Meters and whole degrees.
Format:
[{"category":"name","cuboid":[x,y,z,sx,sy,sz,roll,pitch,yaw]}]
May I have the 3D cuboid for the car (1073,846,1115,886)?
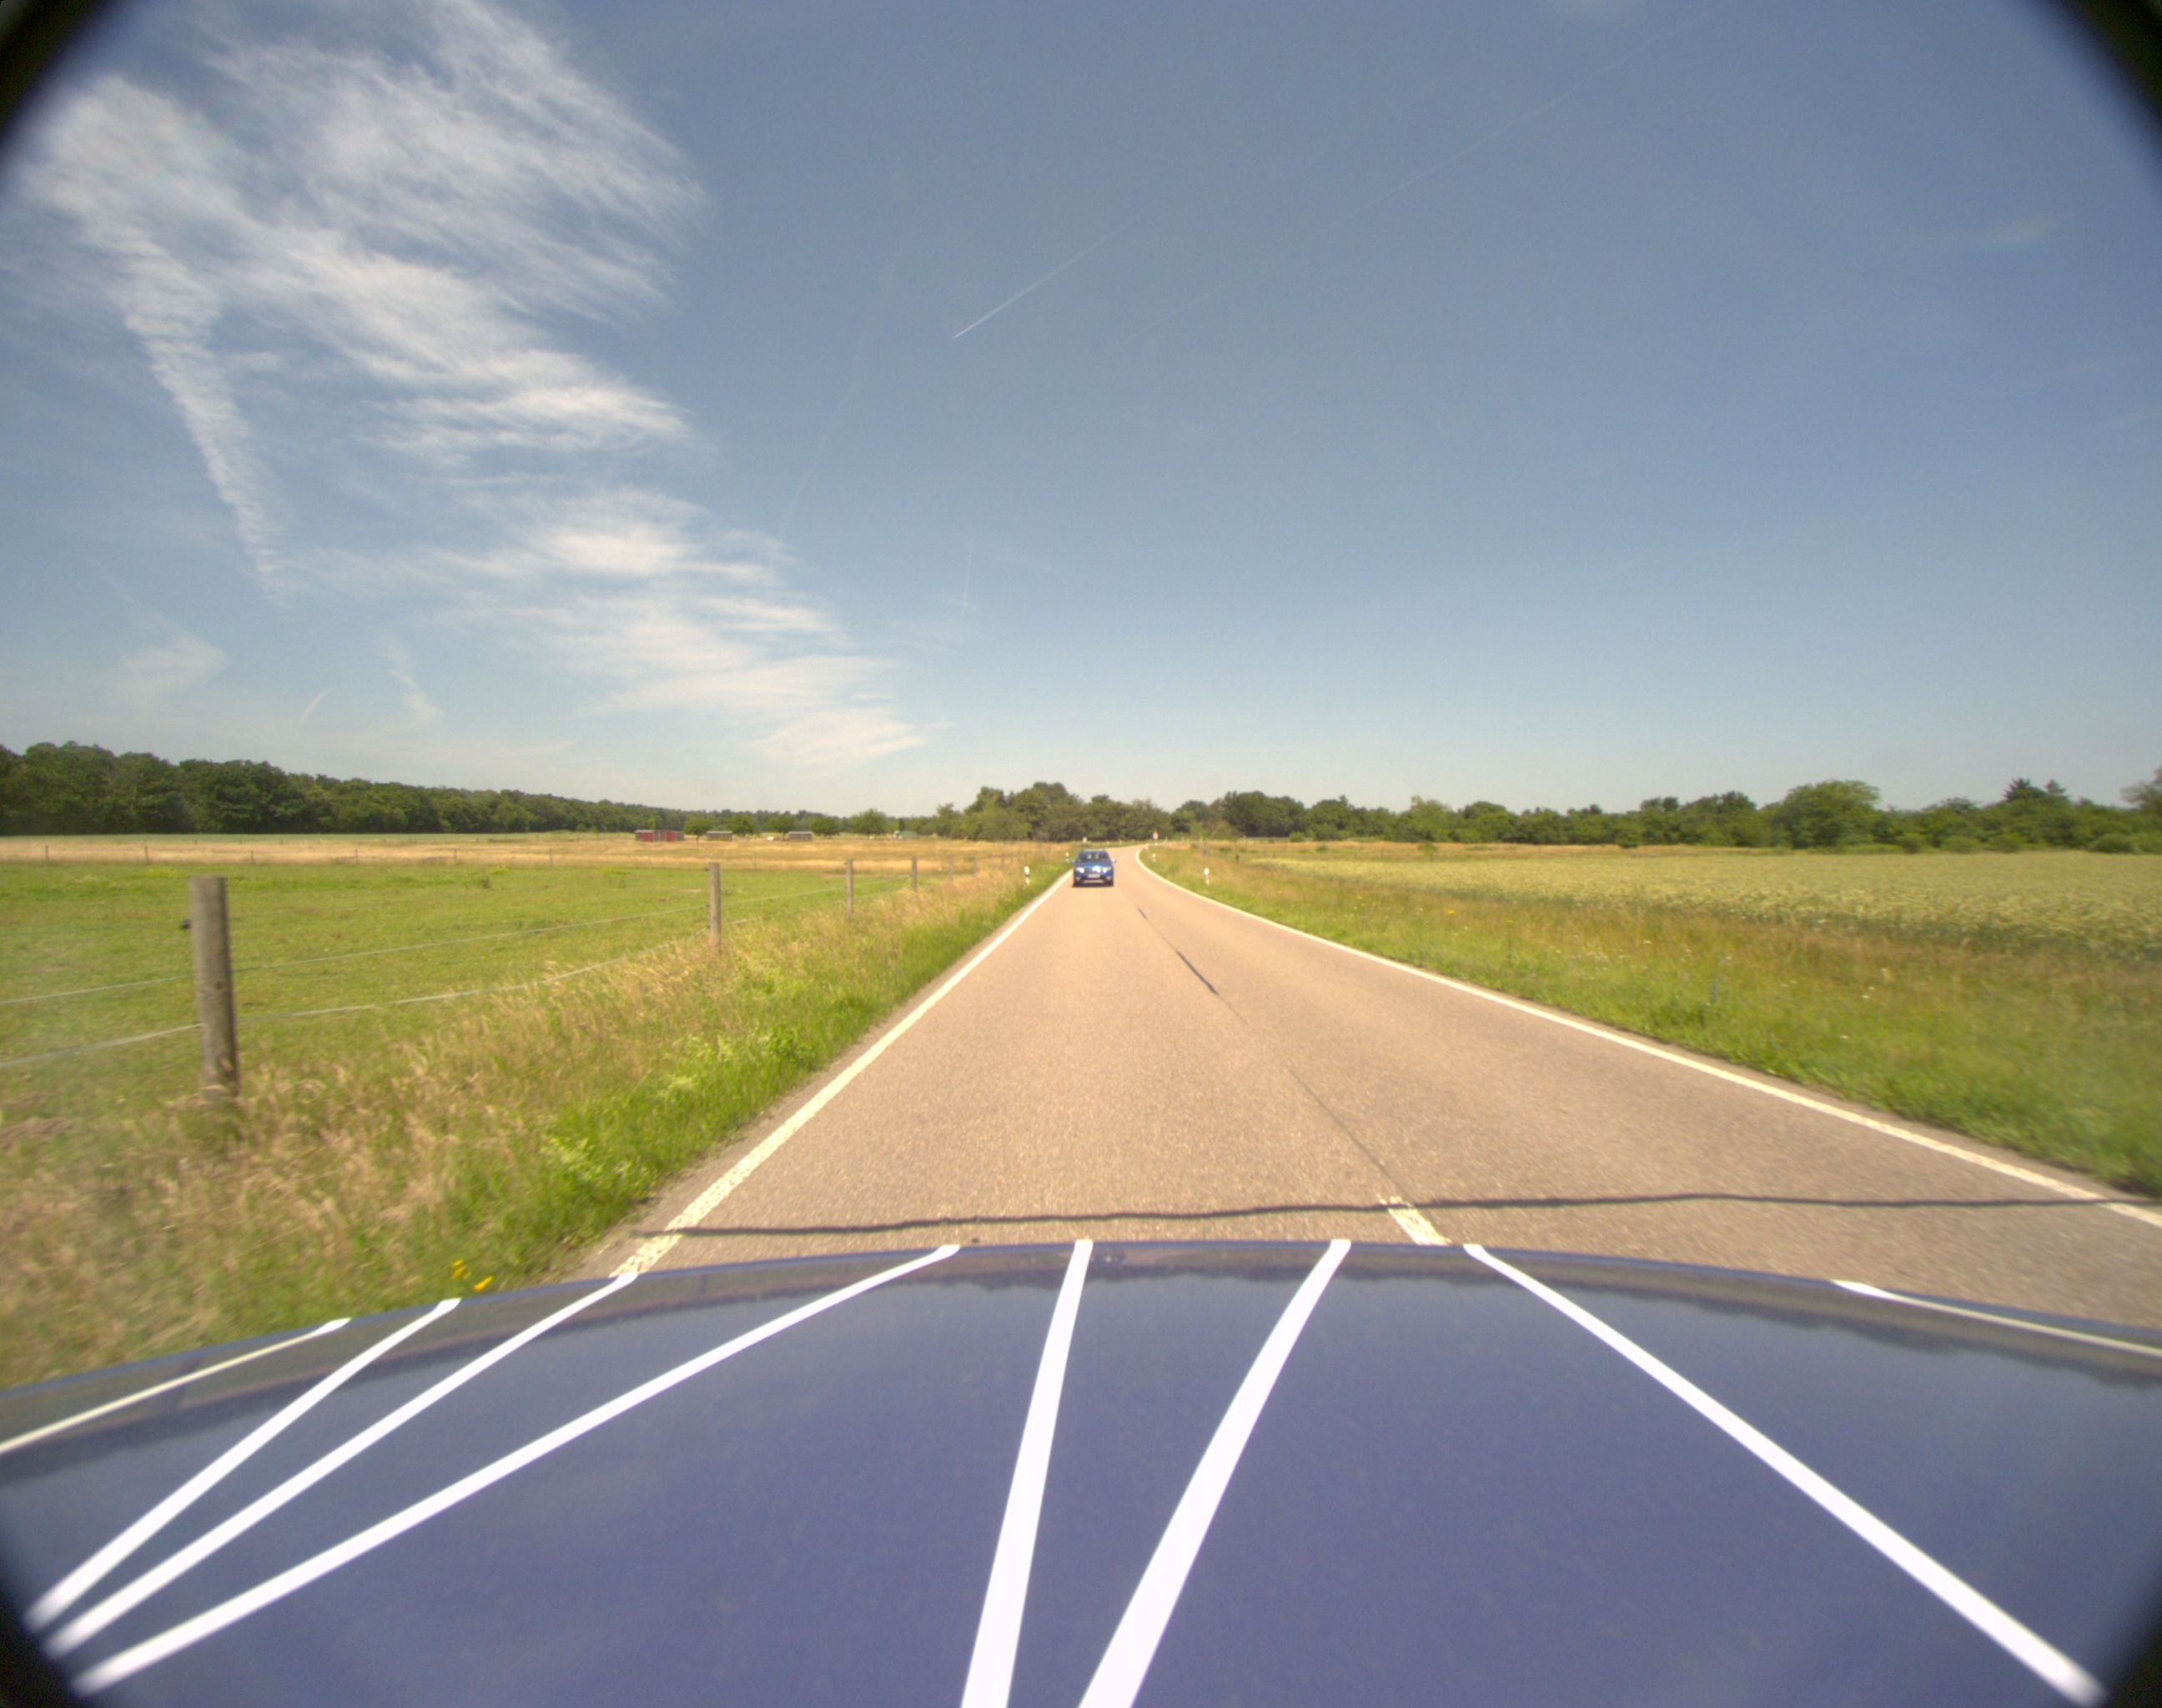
[{"category":"car","cuboid":[0.631,0.491,33.728,1.734,1.572,4.000,-1,1,2]}]
